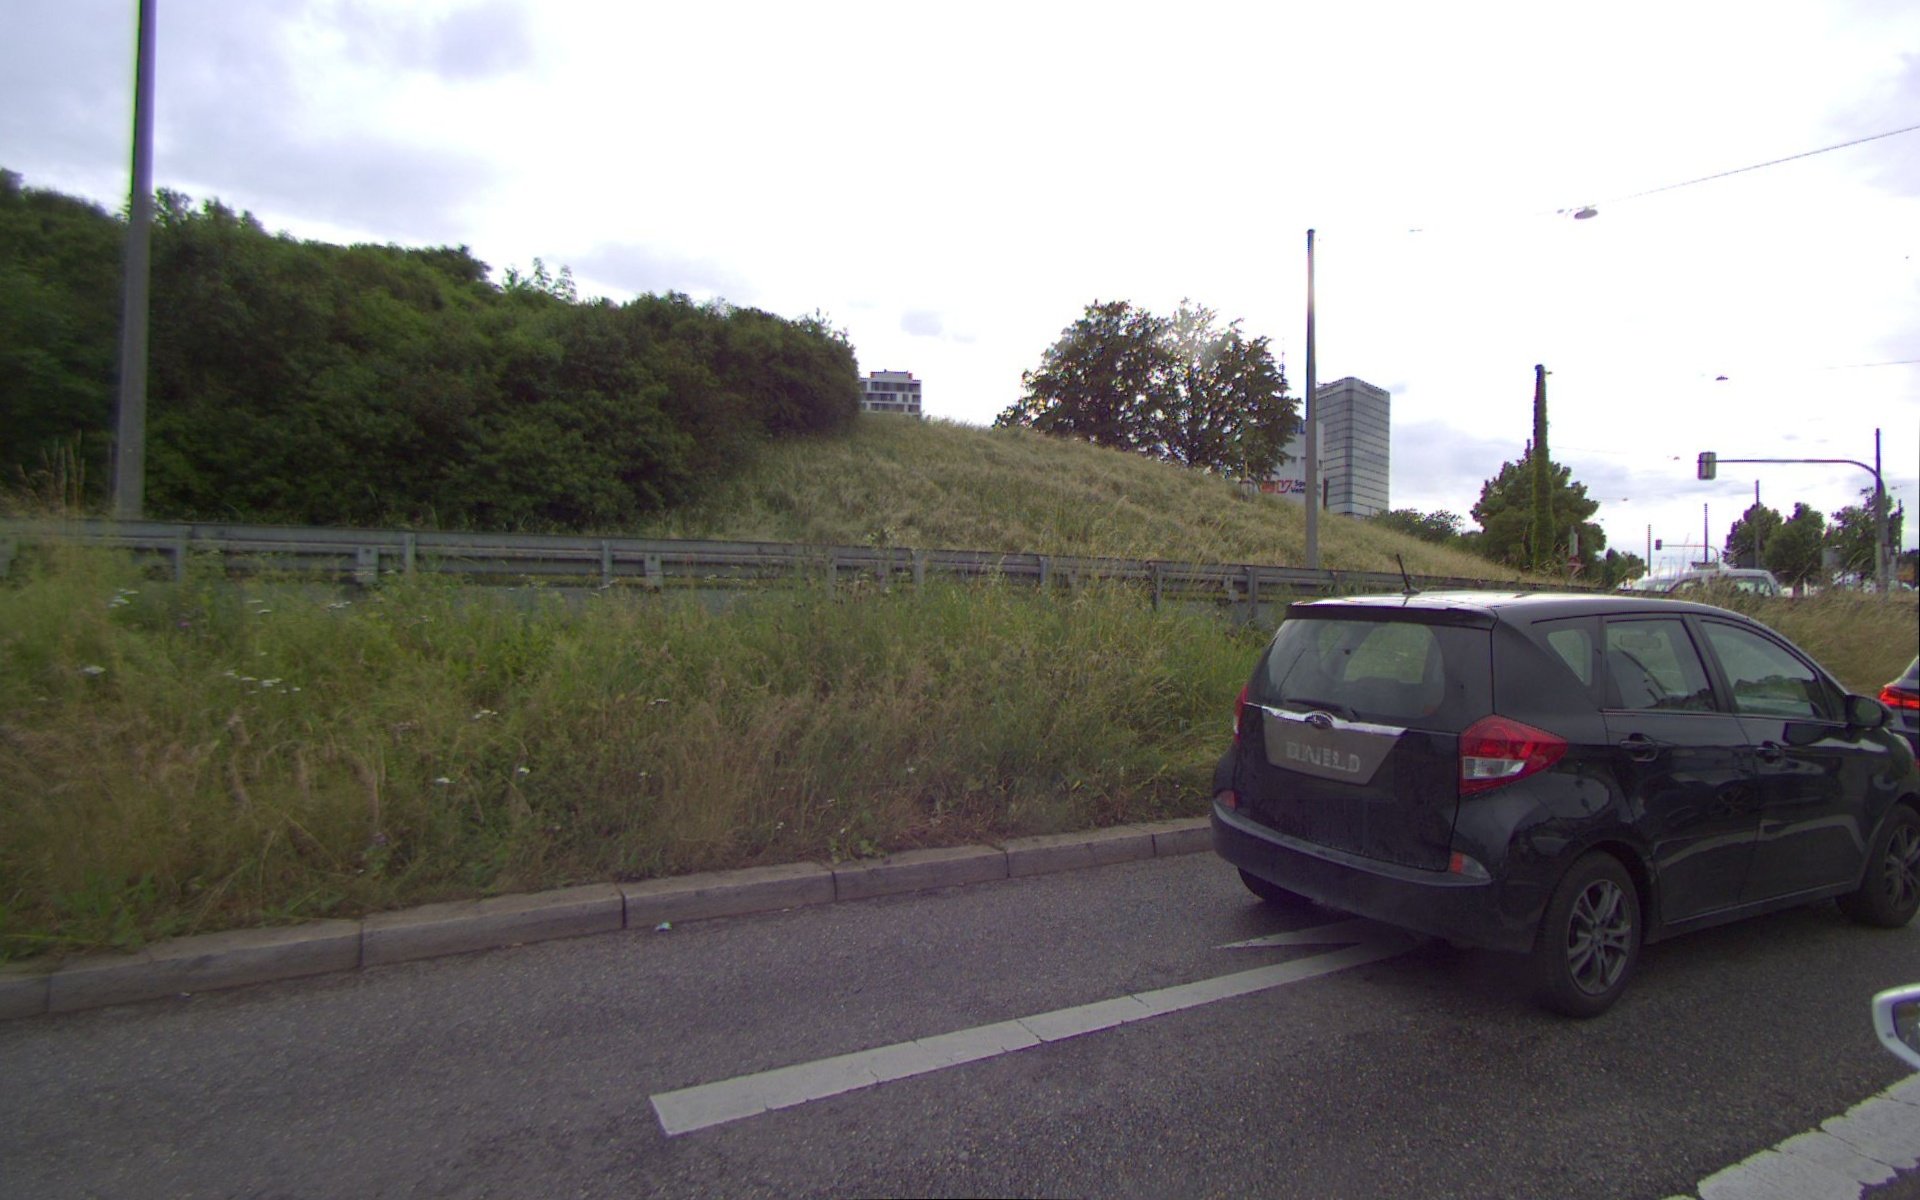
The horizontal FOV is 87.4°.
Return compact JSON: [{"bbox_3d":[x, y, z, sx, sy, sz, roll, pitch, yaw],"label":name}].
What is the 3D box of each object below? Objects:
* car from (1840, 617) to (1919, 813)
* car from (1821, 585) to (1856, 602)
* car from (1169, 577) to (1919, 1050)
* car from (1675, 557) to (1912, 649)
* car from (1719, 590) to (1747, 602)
[{"bbox_3d":[9.239,0.899,8.120,4.058,1.479,1.698,1,-1,-25],"label":"car"},{"bbox_3d":[93.373,-0.680,106.838,1.965,1.659,4.410,4,3,31],"label":"car"},{"bbox_3d":[3.031,0.719,4.884,3.731,1.525,1.635,1,2,-28],"label":"car"},{"bbox_3d":[19.185,0.092,23.171,4.619,1.874,1.817,2,0,-14],"label":"car"},{"bbox_3d":[104.126,-0.493,135.354,1.962,1.497,4.499,2,-1,25],"label":"car"}]
